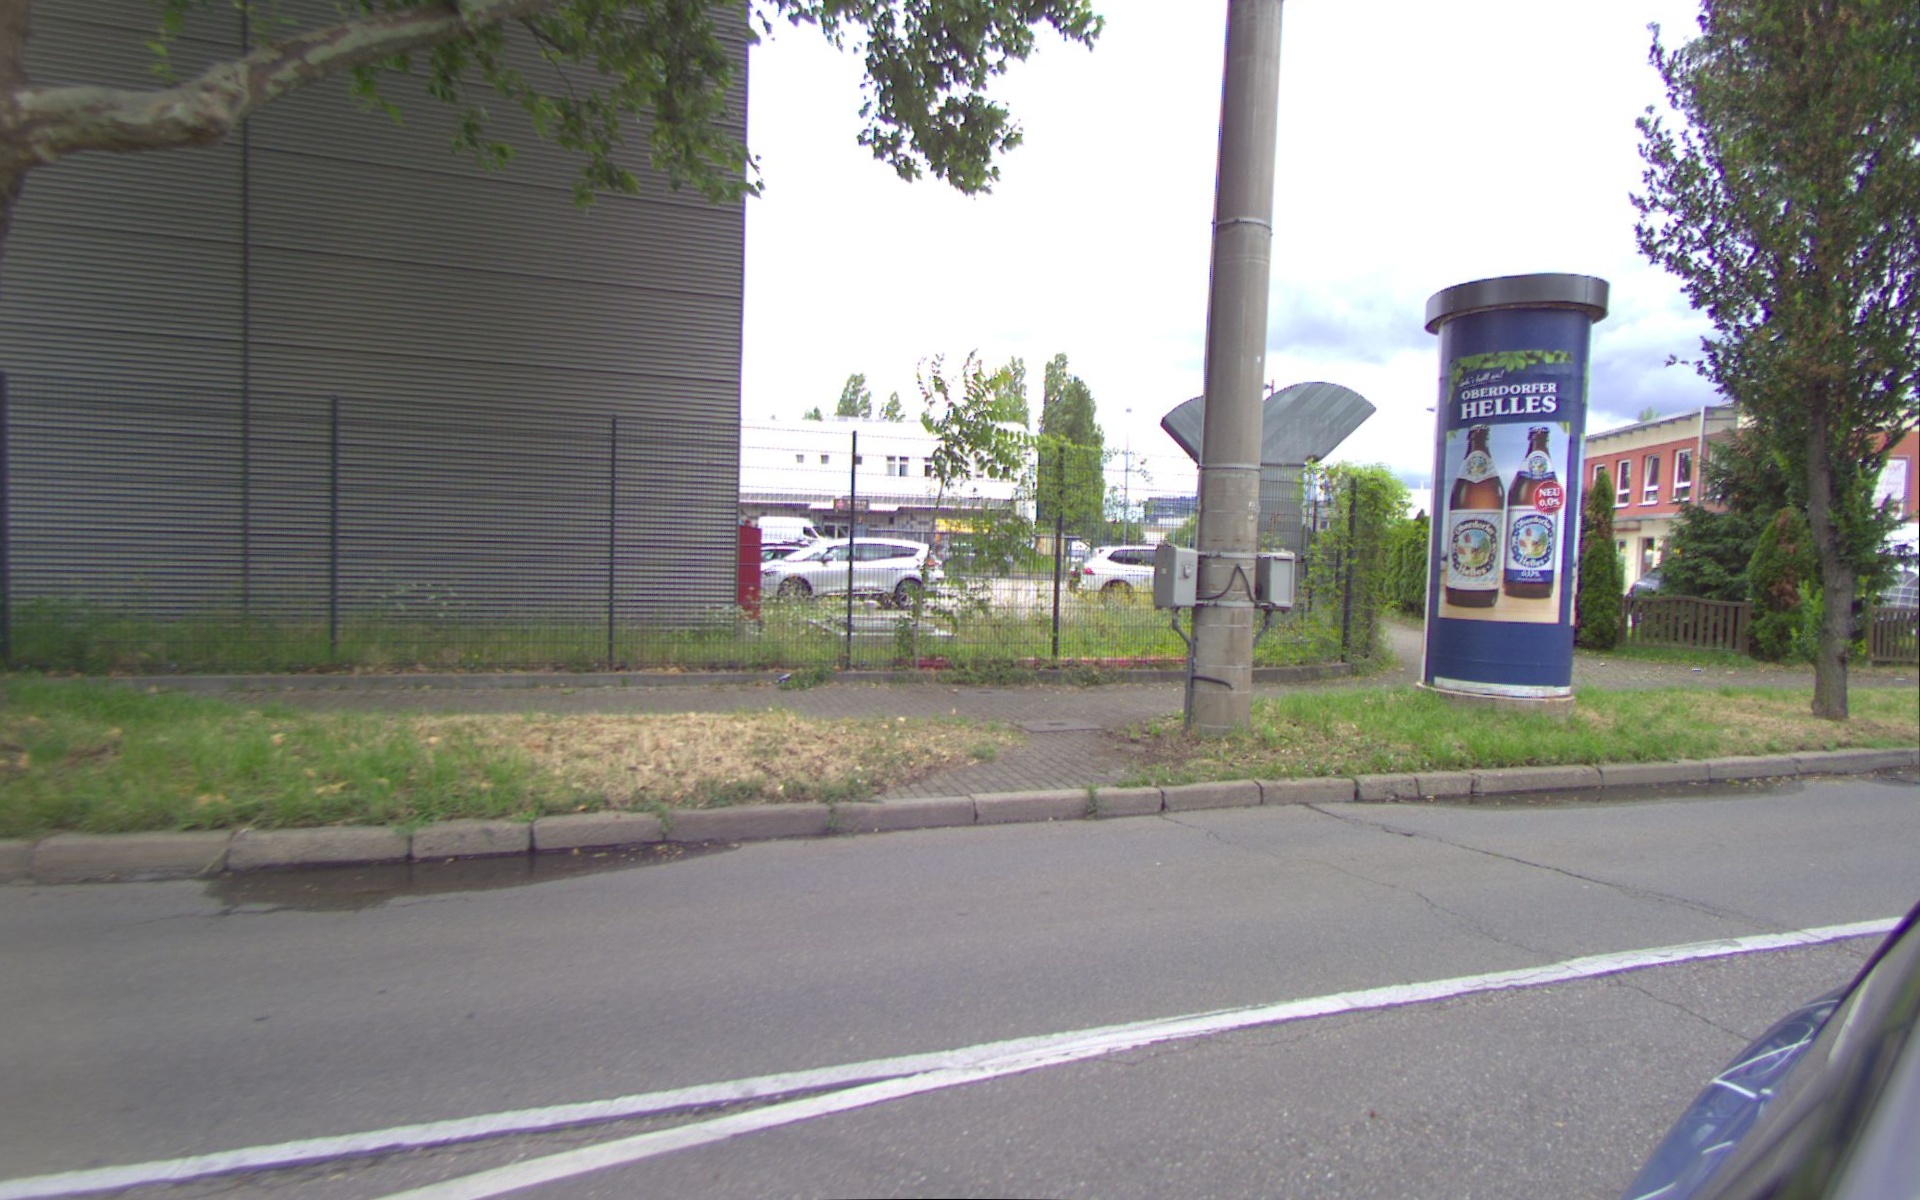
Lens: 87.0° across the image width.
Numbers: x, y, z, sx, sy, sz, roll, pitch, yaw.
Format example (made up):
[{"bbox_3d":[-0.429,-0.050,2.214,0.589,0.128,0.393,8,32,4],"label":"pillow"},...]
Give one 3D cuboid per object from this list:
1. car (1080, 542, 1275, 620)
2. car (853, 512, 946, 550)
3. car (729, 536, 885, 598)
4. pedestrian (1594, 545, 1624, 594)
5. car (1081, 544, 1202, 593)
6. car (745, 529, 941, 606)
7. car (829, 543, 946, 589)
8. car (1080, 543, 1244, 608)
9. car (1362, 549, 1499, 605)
[{"bbox_3d":[5.205,-0.496,24.764,4.426,1.685,1.996,2,3,8],"label":"car"},{"bbox_3d":[-2.871,-3.302,48.460,4.195,1.670,1.997,1,0,5],"label":"car"},{"bbox_3d":[-4.461,-0.988,30.122,1.990,1.685,4.440,4,3,38],"label":"car"},{"bbox_3d":[24.109,-1.129,37.581,0.857,1.784,0.596,0,0,26],"label":"pedestrian"},{"bbox_3d":[6.908,-1.226,38.898,4.426,1.685,1.996,2,3,8],"label":"car"},{"bbox_3d":[-2.769,-0.713,23.768,4.181,1.670,2.004,0,0,-22],"label":"car"},{"bbox_3d":[-2.722,-1.287,38.619,4.195,1.670,1.997,1,0,5],"label":"car"},{"bbox_3d":[5.714,-0.737,29.168,4.426,1.685,1.996,2,3,8],"label":"car"},{"bbox_3d":[15.661,-0.741,33.718,3.916,1.772,1.859,0,0,-19],"label":"car"}]
